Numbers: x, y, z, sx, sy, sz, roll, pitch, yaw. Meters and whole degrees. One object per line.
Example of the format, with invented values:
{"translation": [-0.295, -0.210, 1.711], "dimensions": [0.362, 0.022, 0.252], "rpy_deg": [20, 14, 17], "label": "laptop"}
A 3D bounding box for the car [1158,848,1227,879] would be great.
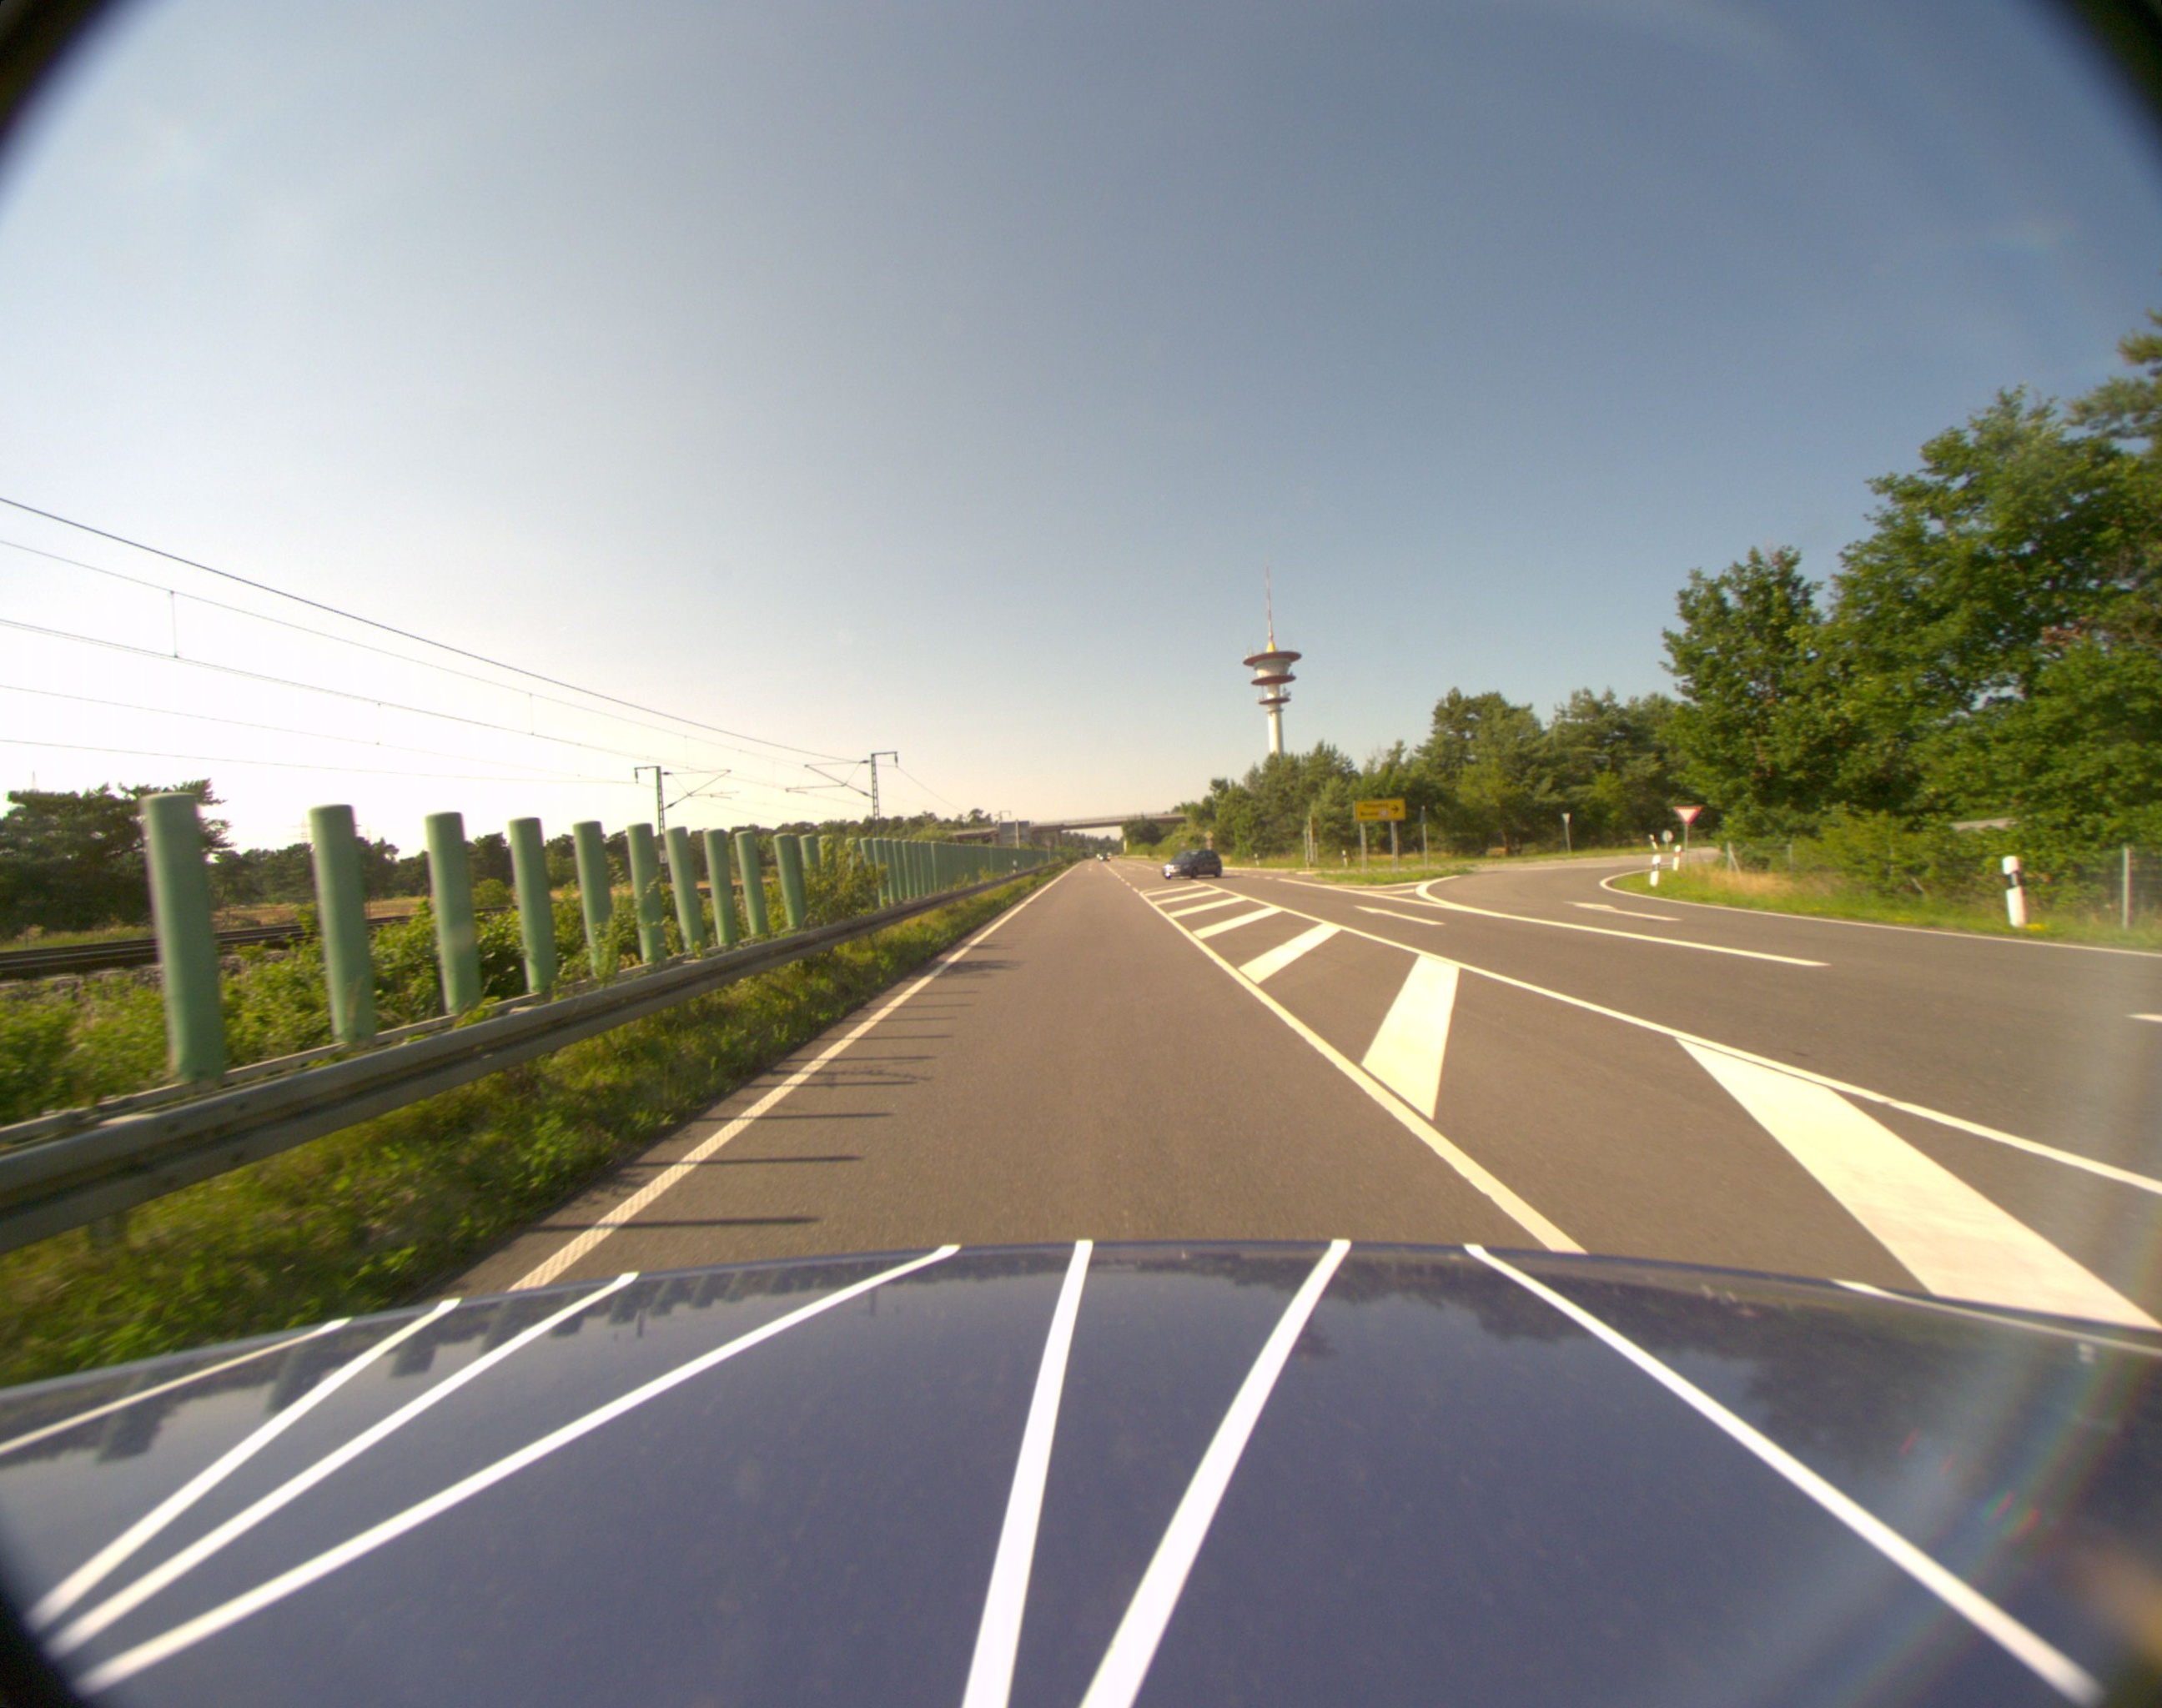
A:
{"translation": [6.082, 0.471, 41.303], "dimensions": [1.865, 1.533, 4.084], "rpy_deg": [-1, 1, 39], "label": "car"}

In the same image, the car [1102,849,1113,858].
{"translation": [4.657, -0.098, 133.230], "dimensions": [1.998, 1.533, 4.332], "rpy_deg": [-1, 0, 2], "label": "car"}
